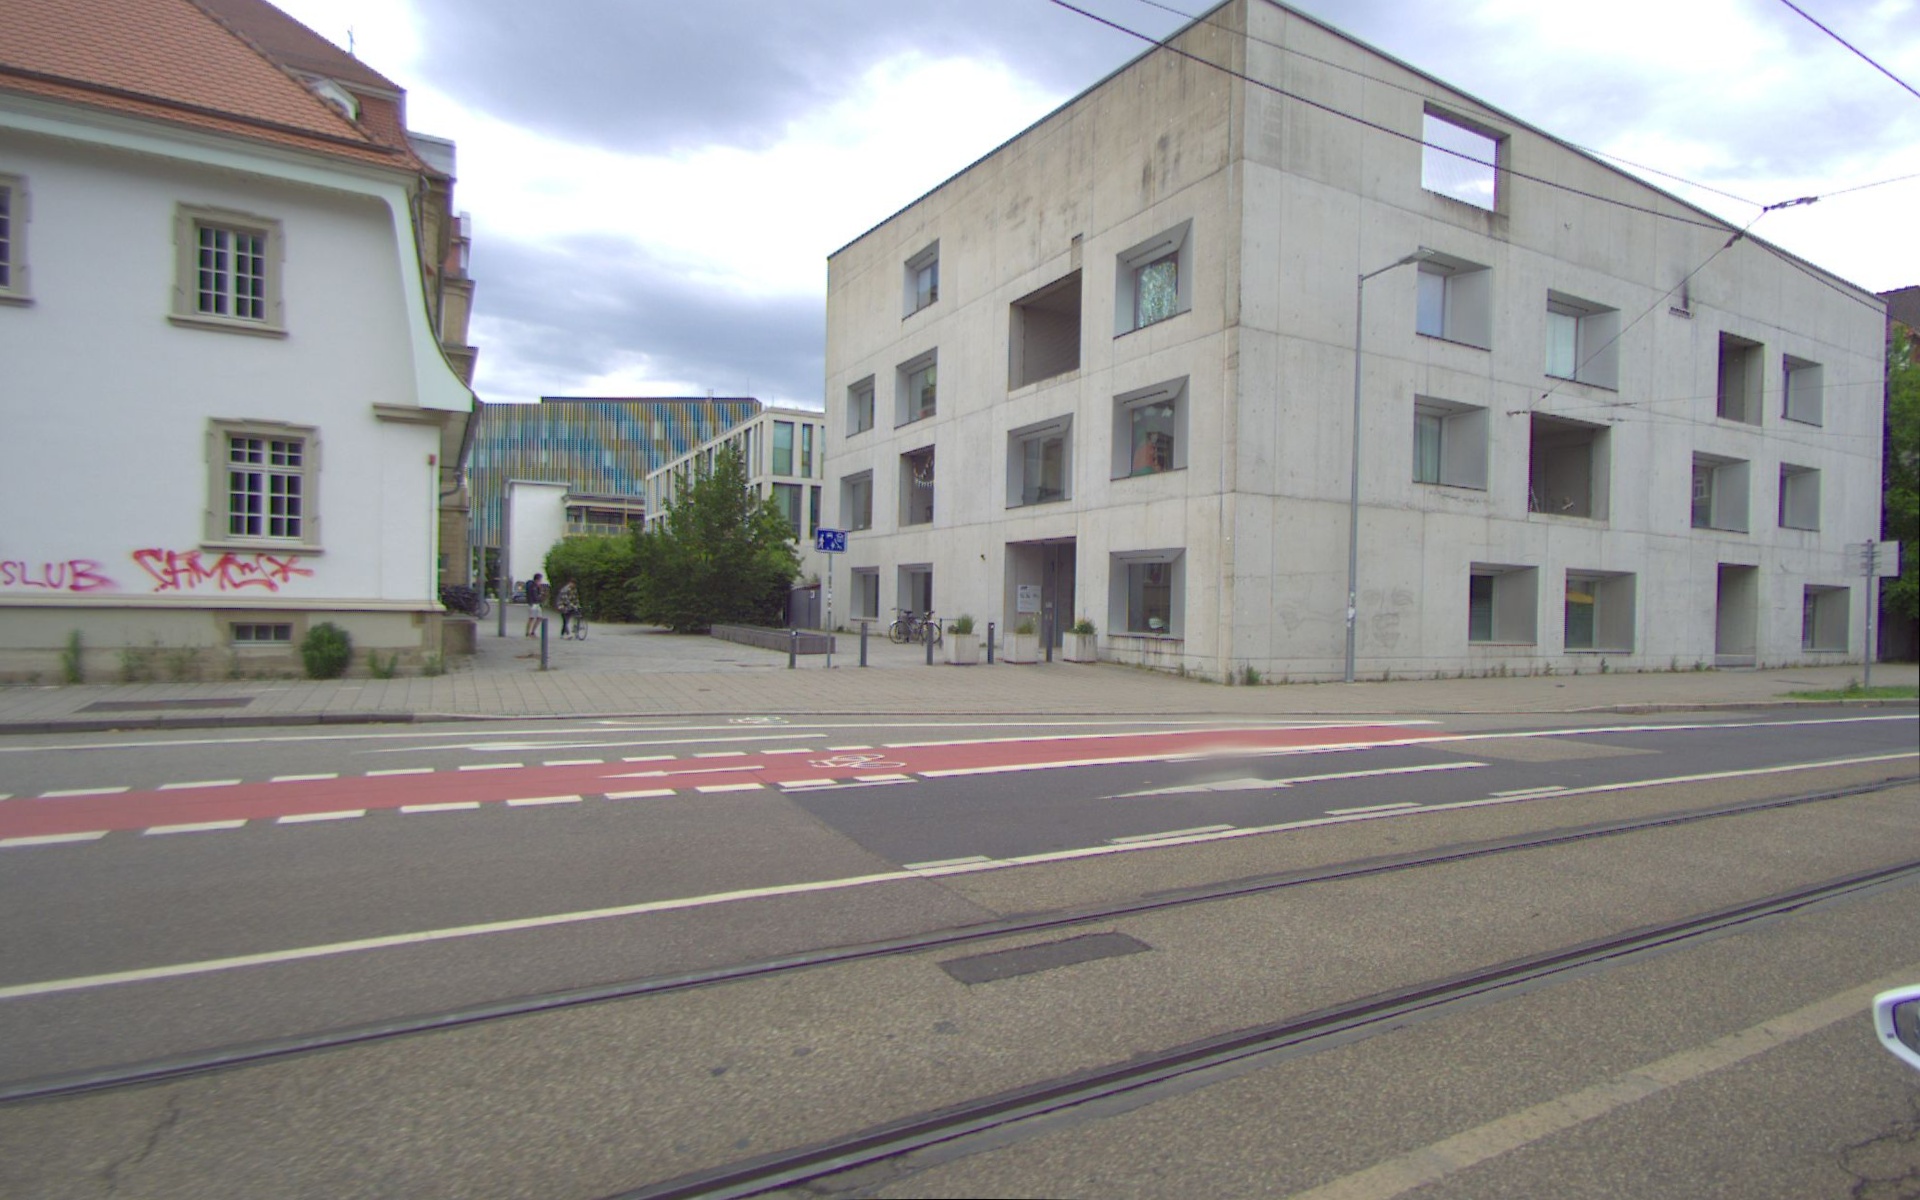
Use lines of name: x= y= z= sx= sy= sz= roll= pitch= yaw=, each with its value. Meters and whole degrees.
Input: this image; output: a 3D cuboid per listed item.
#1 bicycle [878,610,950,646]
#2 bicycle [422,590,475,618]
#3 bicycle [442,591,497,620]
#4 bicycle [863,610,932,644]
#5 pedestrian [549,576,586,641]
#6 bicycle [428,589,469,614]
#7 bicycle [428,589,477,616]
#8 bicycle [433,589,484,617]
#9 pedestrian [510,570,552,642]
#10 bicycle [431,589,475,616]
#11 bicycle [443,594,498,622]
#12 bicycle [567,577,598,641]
bicycle: x=-1.380 y=0.851 z=30.292 sx=2.066 sy=1.032 sz=0.658 roll=1 pitch=0 yaw=-29
bicycle: x=-21.718 y=0.169 z=42.696 sx=1.903 sy=1.088 sz=0.715 roll=4 pitch=-1 yaw=-24
bicycle: x=-20.106 y=0.229 z=41.210 sx=1.903 sy=1.088 sz=0.715 roll=4 pitch=-1 yaw=-24
bicycle: x=-1.921 y=0.841 z=30.985 sx=2.066 sy=1.026 sz=0.658 roll=1 pitch=0 yaw=-31
pedestrian: x=-11.112 y=0.237 z=28.469 sx=0.680 sy=1.804 sz=0.639 roll=2 pitch=-2 yaw=43
bicycle: x=-24.874 y=0.086 z=48.888 sx=1.692 sy=1.088 sz=0.544 roll=4 pitch=-1 yaw=-24
bicycle: x=-23.144 y=0.129 z=45.848 sx=1.903 sy=1.088 sz=0.611 roll=4 pitch=-1 yaw=-24
bicycle: x=-21.912 y=0.145 z=43.931 sx=1.903 sy=1.088 sz=0.715 roll=4 pitch=-1 yaw=-24
pedestrian: x=-11.668 y=0.165 z=27.331 sx=0.680 sy=1.910 sz=0.752 roll=2 pitch=-1 yaw=42
bicycle: x=-22.571 y=0.093 z=44.751 sx=1.678 sy=1.088 sz=0.486 roll=4 pitch=-1 yaw=-24
bicycle: x=-19.660 y=0.318 z=40.368 sx=1.903 sy=0.991 sz=0.715 roll=4 pitch=-1 yaw=-24
bicycle: x=-10.865 y=0.245 z=28.927 sx=0.927 sy=1.804 sz=0.357 roll=2 pitch=-2 yaw=44
